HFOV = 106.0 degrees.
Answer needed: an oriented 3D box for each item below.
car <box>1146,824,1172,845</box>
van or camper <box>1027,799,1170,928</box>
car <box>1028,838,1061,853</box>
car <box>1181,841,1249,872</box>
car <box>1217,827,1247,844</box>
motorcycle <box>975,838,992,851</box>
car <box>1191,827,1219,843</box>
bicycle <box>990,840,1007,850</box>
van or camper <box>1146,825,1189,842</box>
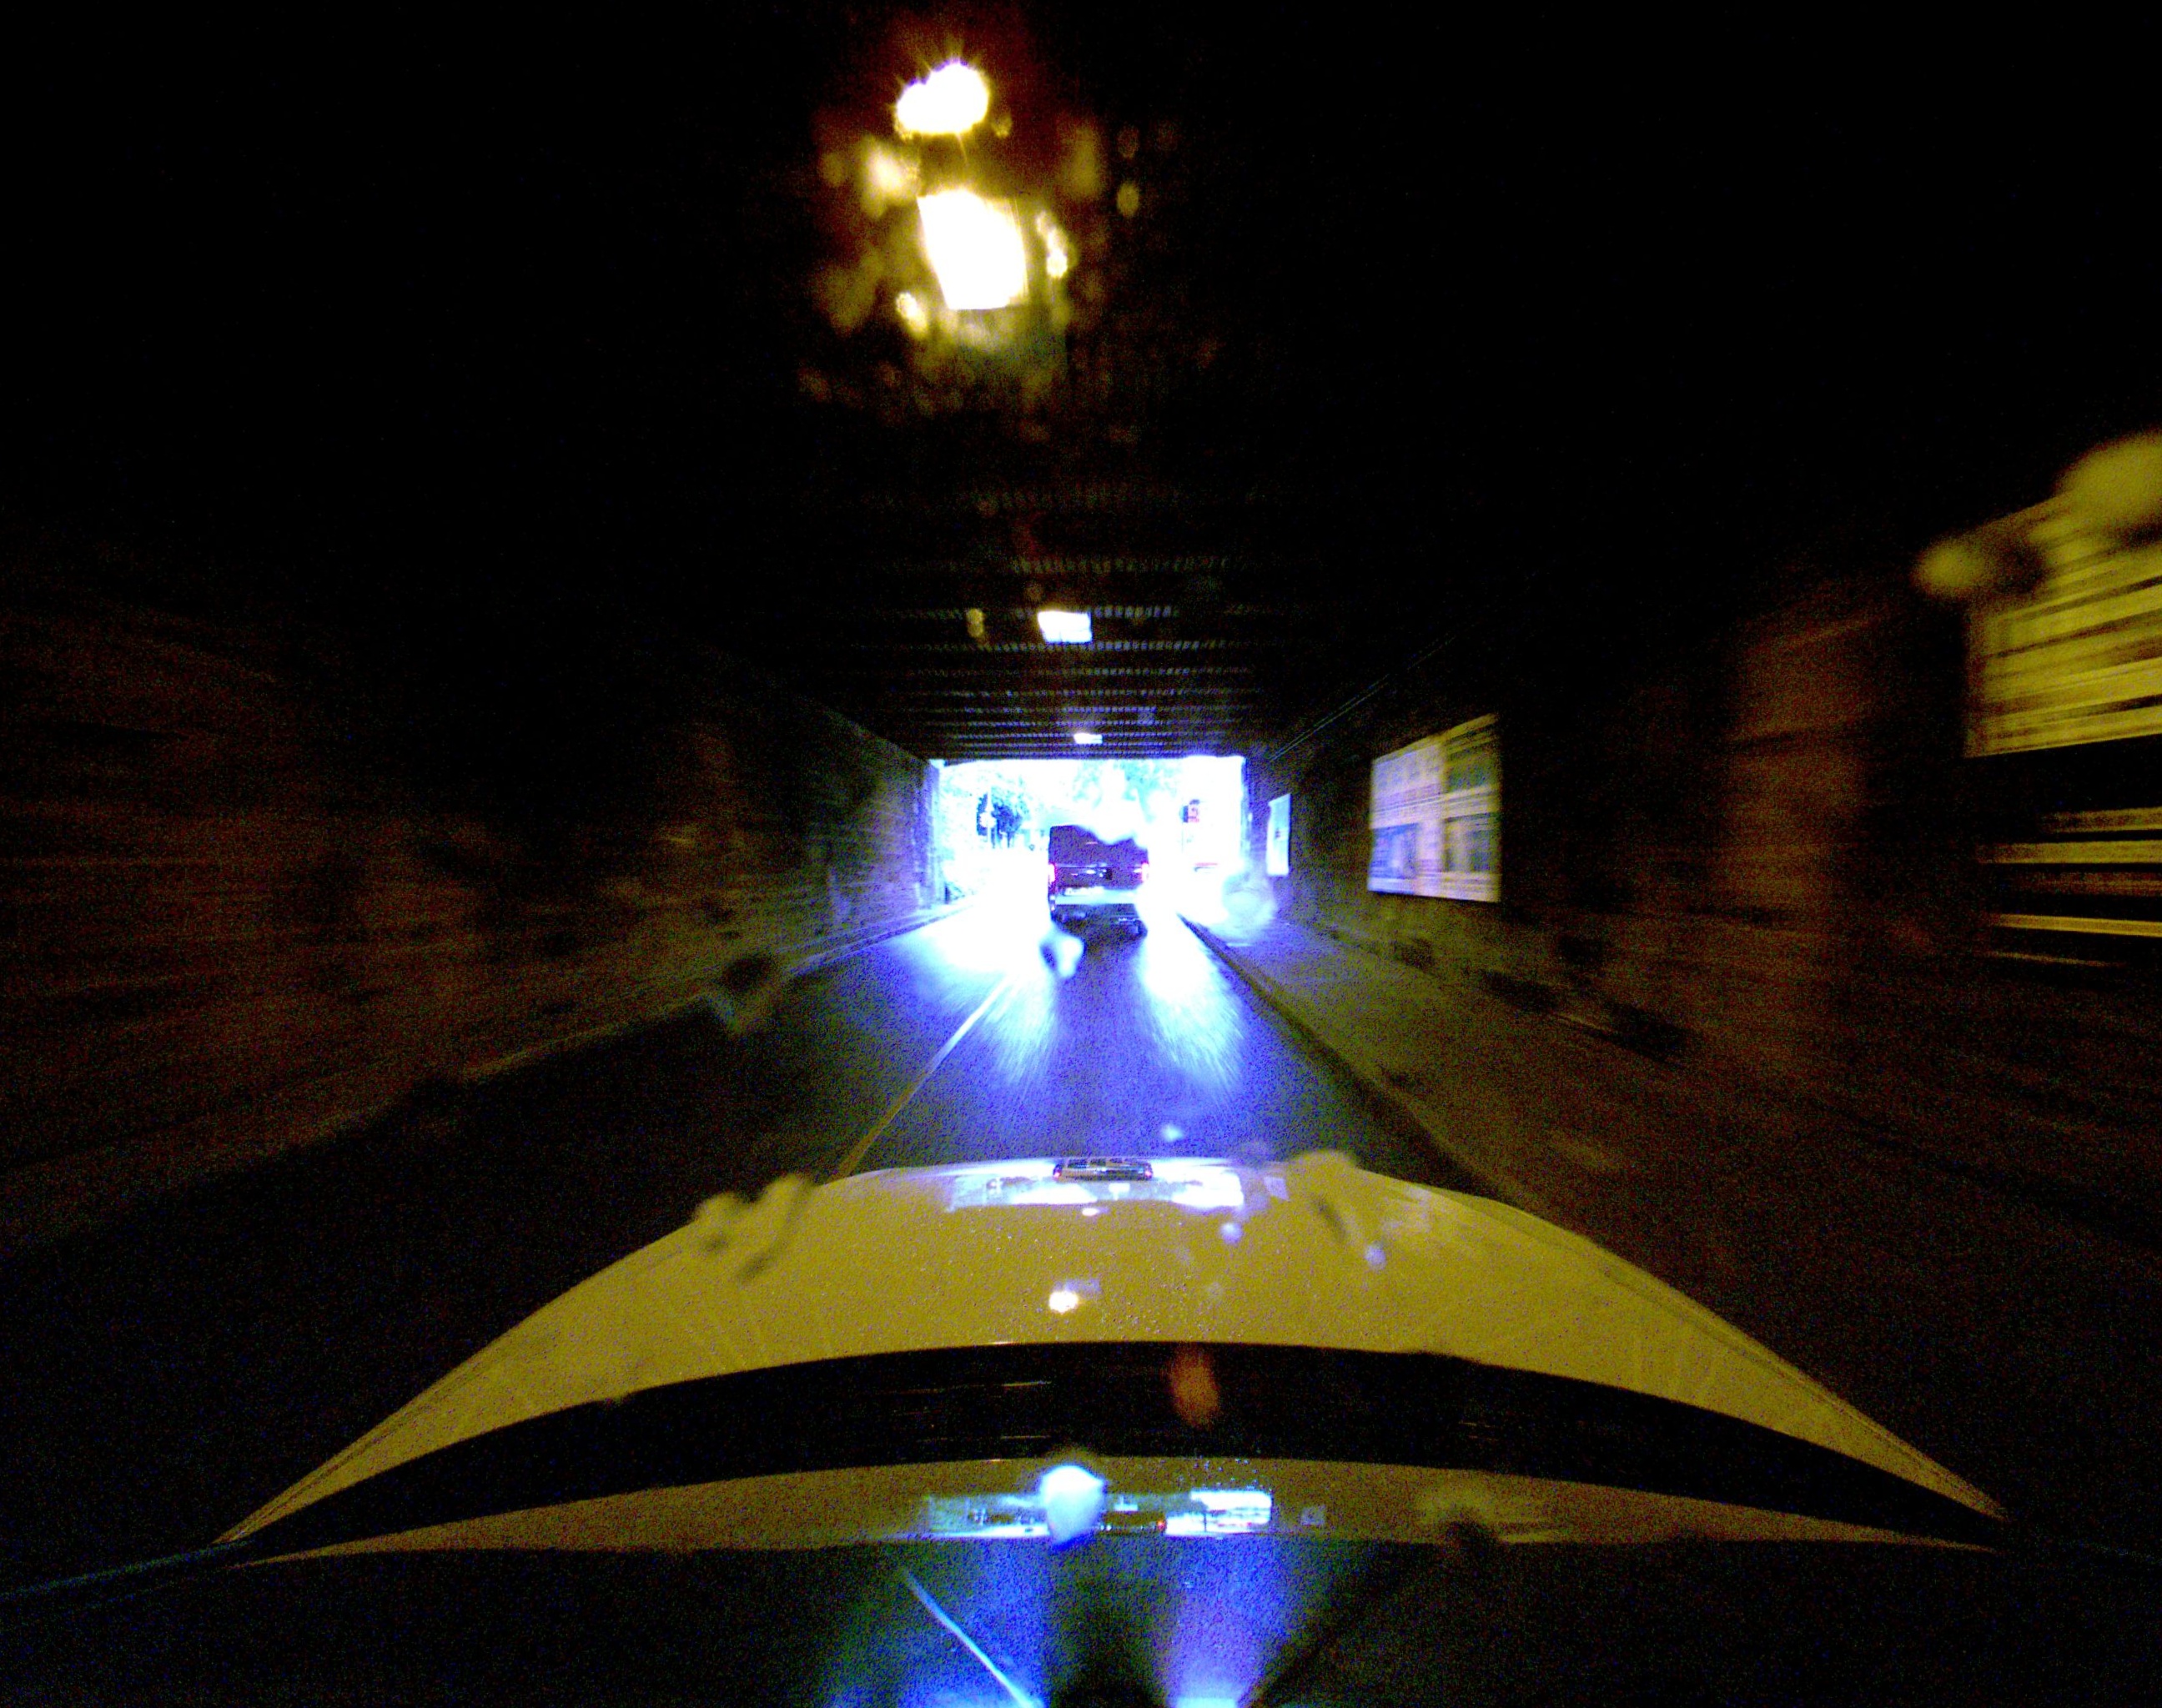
[{"bbox_3d":[7.782,-1.944,81.620,1.990,1.947,3.994,-1,0,-4],"label":"car"},{"bbox_3d":[0.453,0.237,17.958,2.687,2.417,4.906,-1,-1,3],"label":"van or camper"},{"bbox_3d":[-4.233,-1.021,95.254,1.975,1.688,4.024,-1,0,28],"label":"car"},{"bbox_3d":[6.917,0.121,41.716,1.818,1.438,4.129,-2,-1,34],"label":"car"},{"bbox_3d":[15.082,-1.835,81.519,1.990,1.539,3.994,-1,0,-4],"label":"car"},{"bbox_3d":[-11.232,-1.075,93.867,1.982,1.422,0.658,-1,0,-2],"label":"motorcycle"},{"bbox_3d":[12.493,-1.913,82.159,1.990,1.486,3.994,-1,0,-4],"label":"car"},{"bbox_3d":[-9.506,-1.070,93.670,0.919,1.128,2.303,-1,0,23],"label":"bicycle"},{"bbox_3d":[10.715,-2.503,100.713,5.279,2.013,2.083,-1,0,7],"label":"van or camper"}]
